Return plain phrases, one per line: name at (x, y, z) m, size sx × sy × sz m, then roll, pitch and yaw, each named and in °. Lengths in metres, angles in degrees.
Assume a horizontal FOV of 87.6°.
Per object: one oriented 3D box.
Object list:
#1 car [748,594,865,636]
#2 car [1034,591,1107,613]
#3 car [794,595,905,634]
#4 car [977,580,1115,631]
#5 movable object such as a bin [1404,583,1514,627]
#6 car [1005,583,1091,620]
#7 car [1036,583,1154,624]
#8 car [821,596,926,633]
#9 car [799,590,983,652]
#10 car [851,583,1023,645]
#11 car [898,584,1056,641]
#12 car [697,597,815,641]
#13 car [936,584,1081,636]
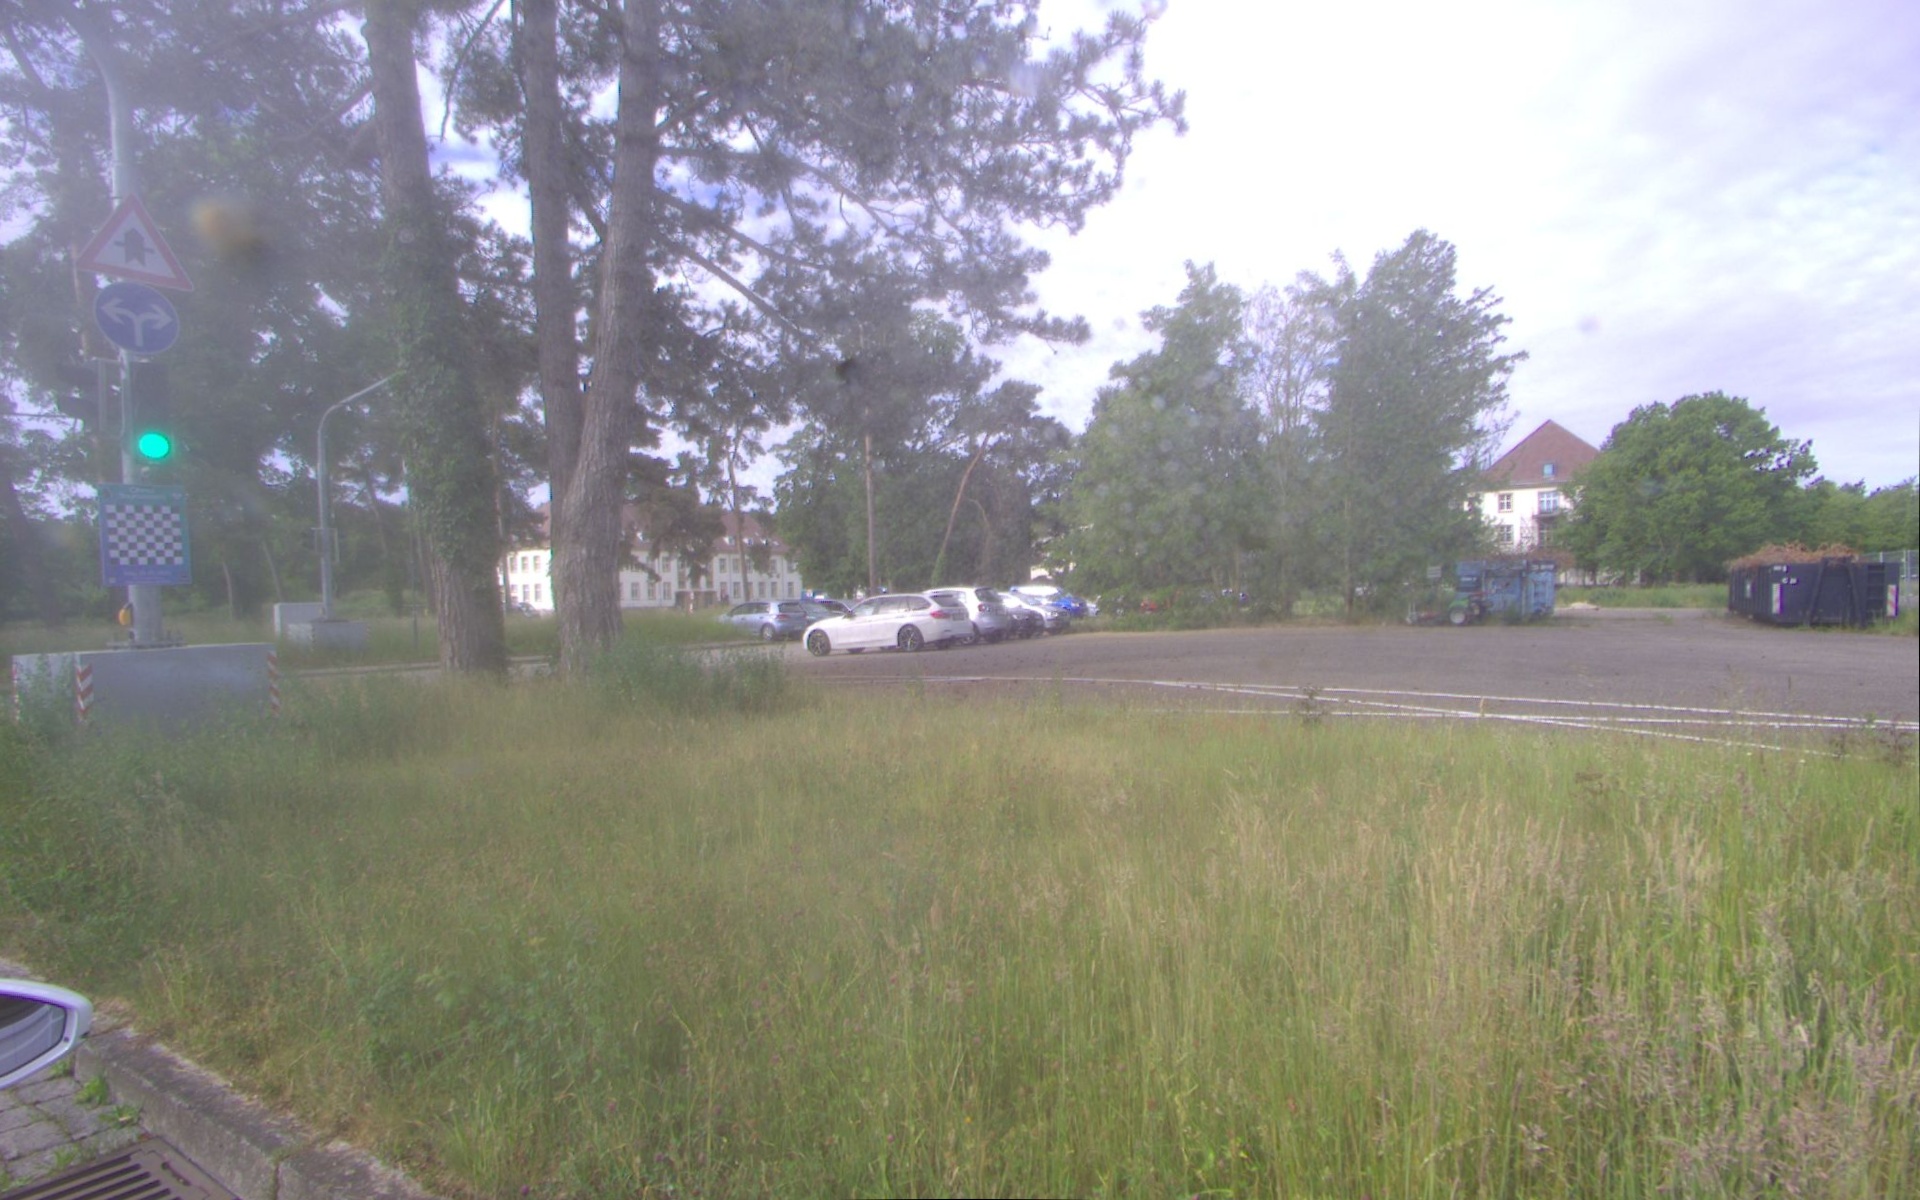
car at (-6.046, 0.584, 39.446) m, size 4.379 × 1.544 × 1.750 m, roll -1°, pitch 1°, yaw 28°
car at (6.552, 0.141, 59.399) m, size 3.941 × 1.226 × 1.654 m, roll -1°, pitch 1°, yaw 31°
car at (-4.618, 0.604, 41.689) m, size 4.380 × 1.544 × 1.750 m, roll -1°, pitch 1°, yaw 29°
car at (2.971, 0.197, 34.827) m, size 4.380 × 1.709 × 1.864 m, roll -1°, pitch 1°, yaw 29°
movable object such as a bin at (13.152, 0.106, 26.413) m, size 2.505 × 1.098 × 1.060 m, roll 1°, pitch 2°, yaw 31°
car at (5.022, 0.097, 57.182) m, size 4.586 × 1.994 × 1.750 m, roll -1°, pitch 1°, yaw 29°
car at (5.467, 0.150, 40.632) m, size 4.380 × 1.598 × 1.864 m, roll -1°, pitch 1°, yaw 29°
car at (-3.820, 0.629, 44.083) m, size 4.380 × 1.544 × 1.750 m, roll -1°, pitch 1°, yaw 29°
car at (-1.778, 0.541, 25.309) m, size 4.380 × 1.434 × 1.750 m, roll -2°, pitch 0°, yaw 29°
car at (-0.655, 0.382, 27.647) m, size 4.380 × 1.598 × 1.864 m, roll -1°, pitch 1°, yaw 29°
car at (0.499, 0.378, 30.074) m, size 4.380 × 1.598 × 1.864 m, roll -1°, pitch 1°, yaw 29°
car at (-7.686, 0.697, 37.603) m, size 4.386 × 1.545 × 1.747 m, roll -1°, pitch 1°, yaw 34°
car at (1.565, 0.323, 32.698) m, size 4.380 × 1.598 × 1.864 m, roll -1°, pitch 1°, yaw 29°
